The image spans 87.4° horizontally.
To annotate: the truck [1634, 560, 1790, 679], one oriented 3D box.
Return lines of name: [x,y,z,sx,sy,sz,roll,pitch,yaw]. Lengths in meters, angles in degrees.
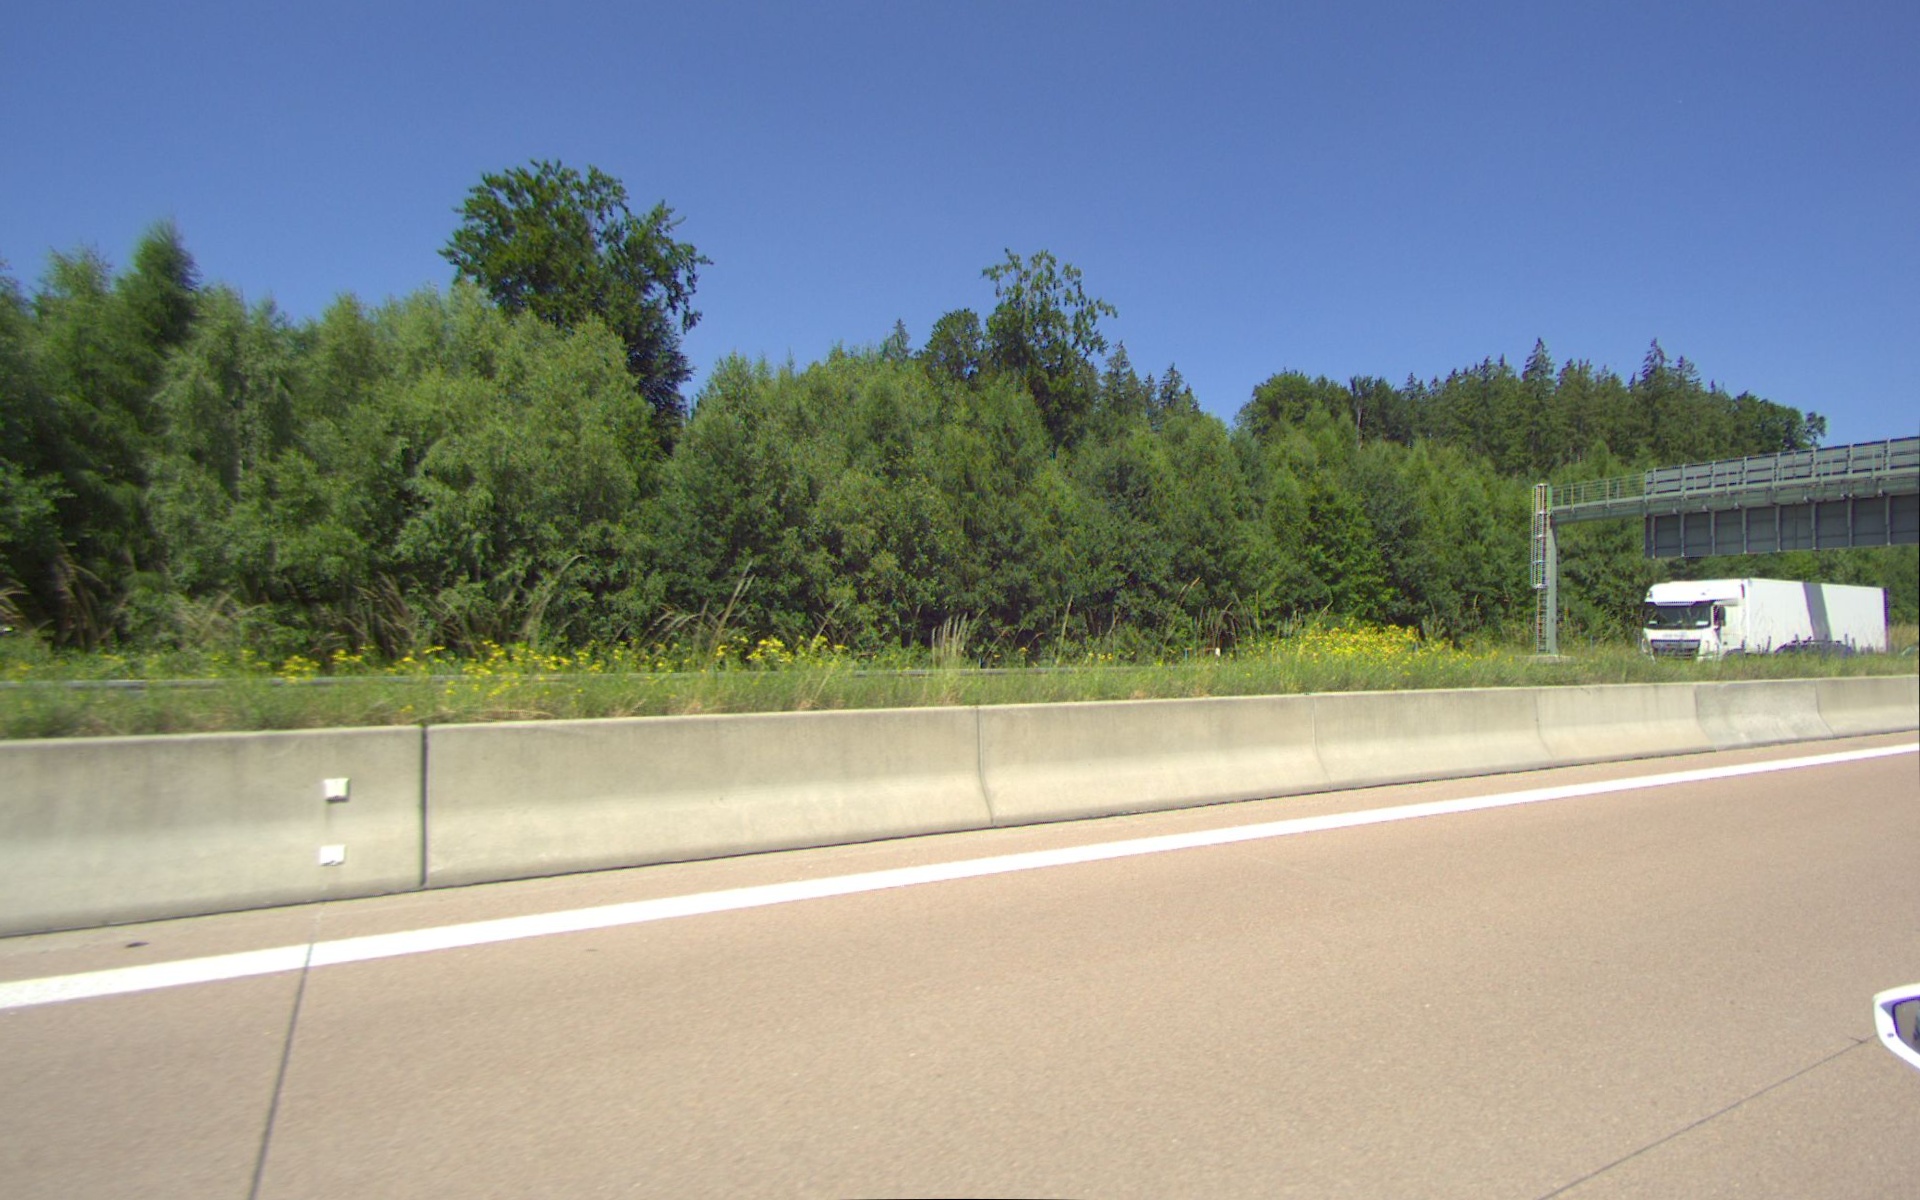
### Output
truck: [30.028,0.791,40.048,6.401,4.439,2.690,1,0,-30]

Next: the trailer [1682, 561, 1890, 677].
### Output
trailer: [36.111,0.892,43.635,13.038,4.493,2.690,2,-1,-31]
